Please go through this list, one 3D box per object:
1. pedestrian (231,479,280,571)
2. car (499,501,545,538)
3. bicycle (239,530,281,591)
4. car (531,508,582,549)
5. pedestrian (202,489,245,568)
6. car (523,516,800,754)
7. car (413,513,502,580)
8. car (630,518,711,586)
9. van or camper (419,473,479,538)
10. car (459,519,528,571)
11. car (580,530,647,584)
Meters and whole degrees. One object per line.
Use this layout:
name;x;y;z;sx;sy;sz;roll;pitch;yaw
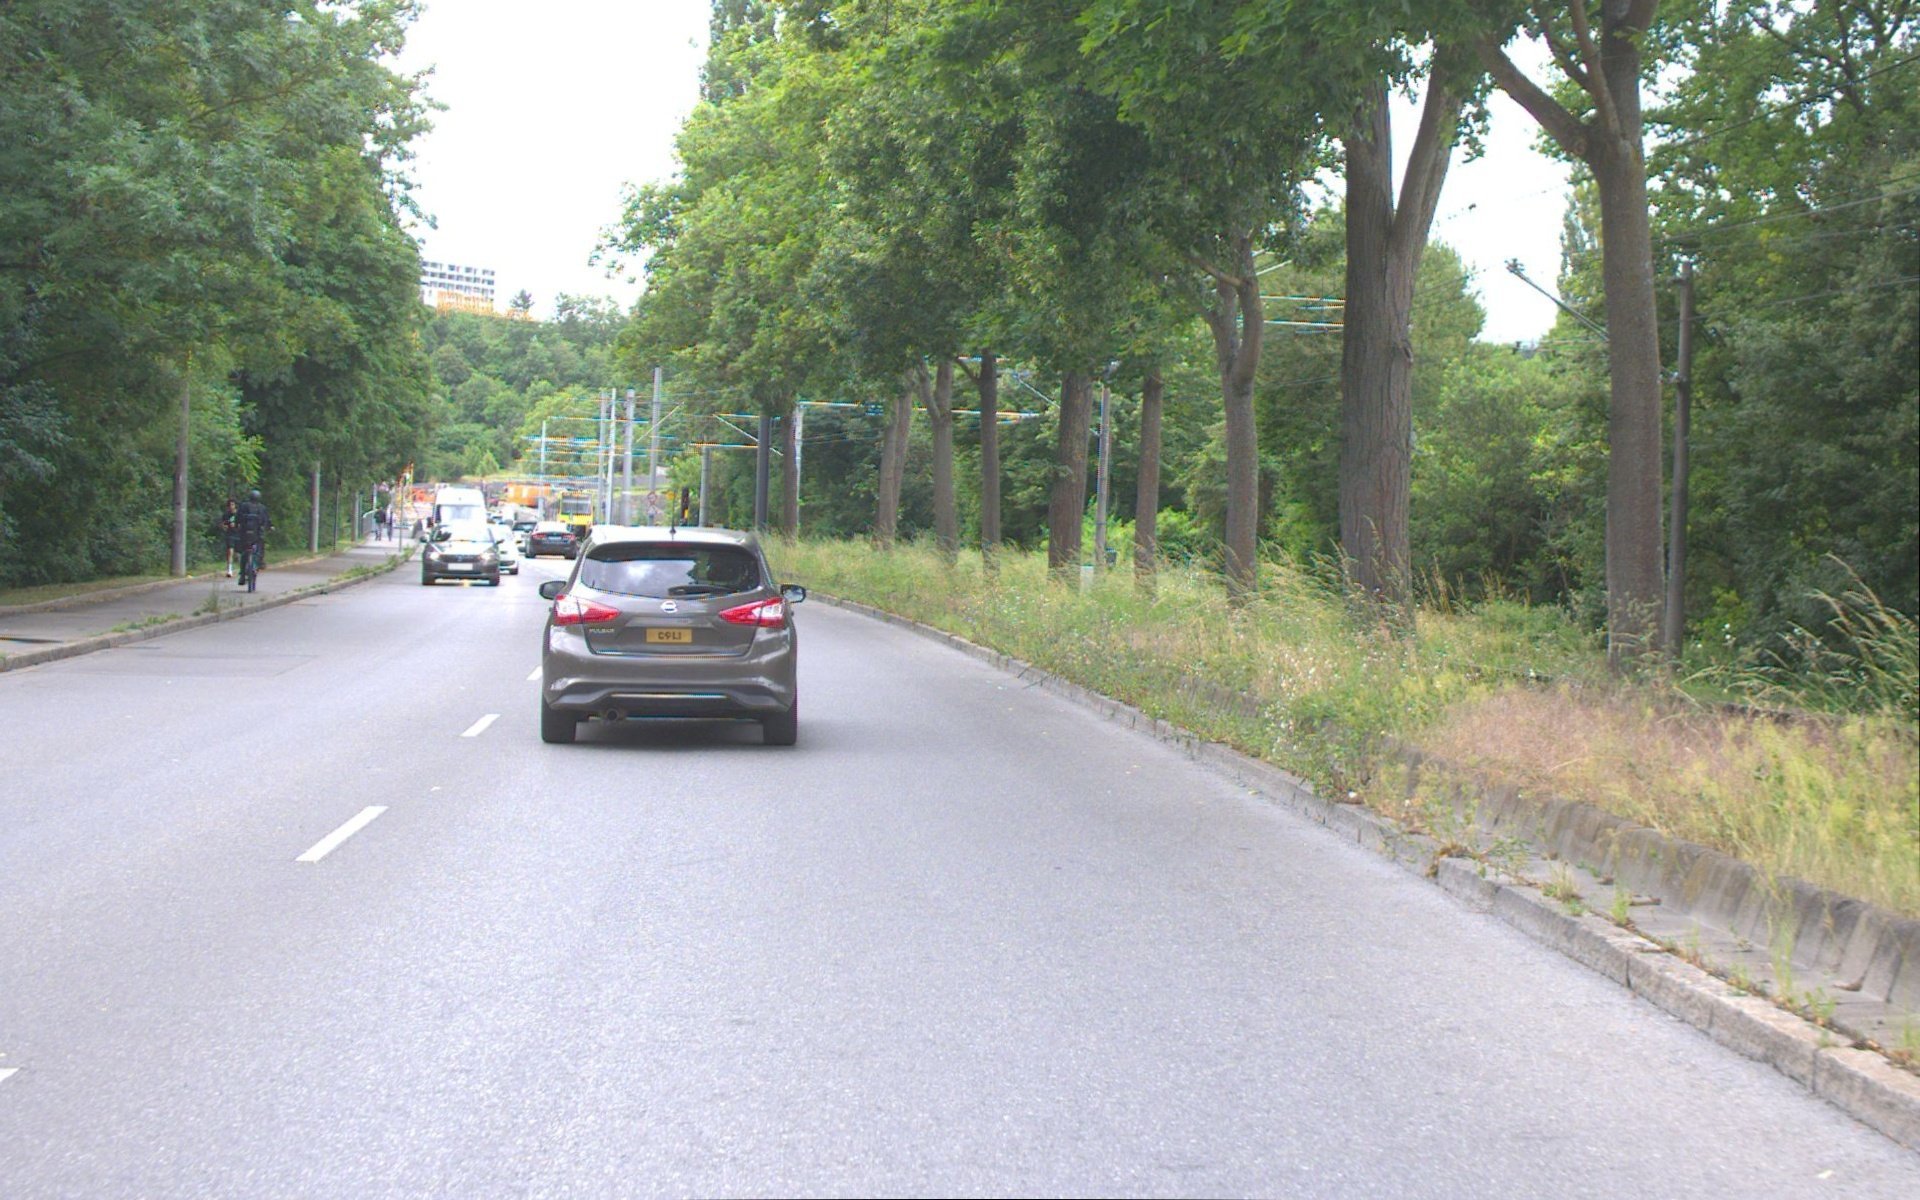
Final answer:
pedestrian;-12.475;-1.333;60.897;0.617;1.566;0.849;4;2;-3
car;-19.315;-3.571;151.658;1.775;1.467;4.001;3;2;-5
bicycle;-12.400;-0.704;60.921;0.488;1.027;1.124;4;2;-3
car;-16.135;-2.873;137.553;1.775;1.467;4.001;4;2;-5
pedestrian;-15.536;-1.518;72.505;0.695;1.616;0.684;4;2;-3
car;-2.108;0.189;25.012;1.816;1.503;4.001;1;2;-3
car;-11.836;-1.274;81.194;1.749;1.459;3.921;3;1;-5
car;-7.077;-1.200;84.381;1.776;1.467;4.001;4;2;-3
van or camper;-18.254;-3.393;122.966;1.925;2.143;3.933;4;2;-8
car;-13.527;-1.608;99.857;1.724;1.326;3.476;3;2;-5
car;-11.083;-1.394;109.797;1.775;1.467;4.002;4;2;-10
